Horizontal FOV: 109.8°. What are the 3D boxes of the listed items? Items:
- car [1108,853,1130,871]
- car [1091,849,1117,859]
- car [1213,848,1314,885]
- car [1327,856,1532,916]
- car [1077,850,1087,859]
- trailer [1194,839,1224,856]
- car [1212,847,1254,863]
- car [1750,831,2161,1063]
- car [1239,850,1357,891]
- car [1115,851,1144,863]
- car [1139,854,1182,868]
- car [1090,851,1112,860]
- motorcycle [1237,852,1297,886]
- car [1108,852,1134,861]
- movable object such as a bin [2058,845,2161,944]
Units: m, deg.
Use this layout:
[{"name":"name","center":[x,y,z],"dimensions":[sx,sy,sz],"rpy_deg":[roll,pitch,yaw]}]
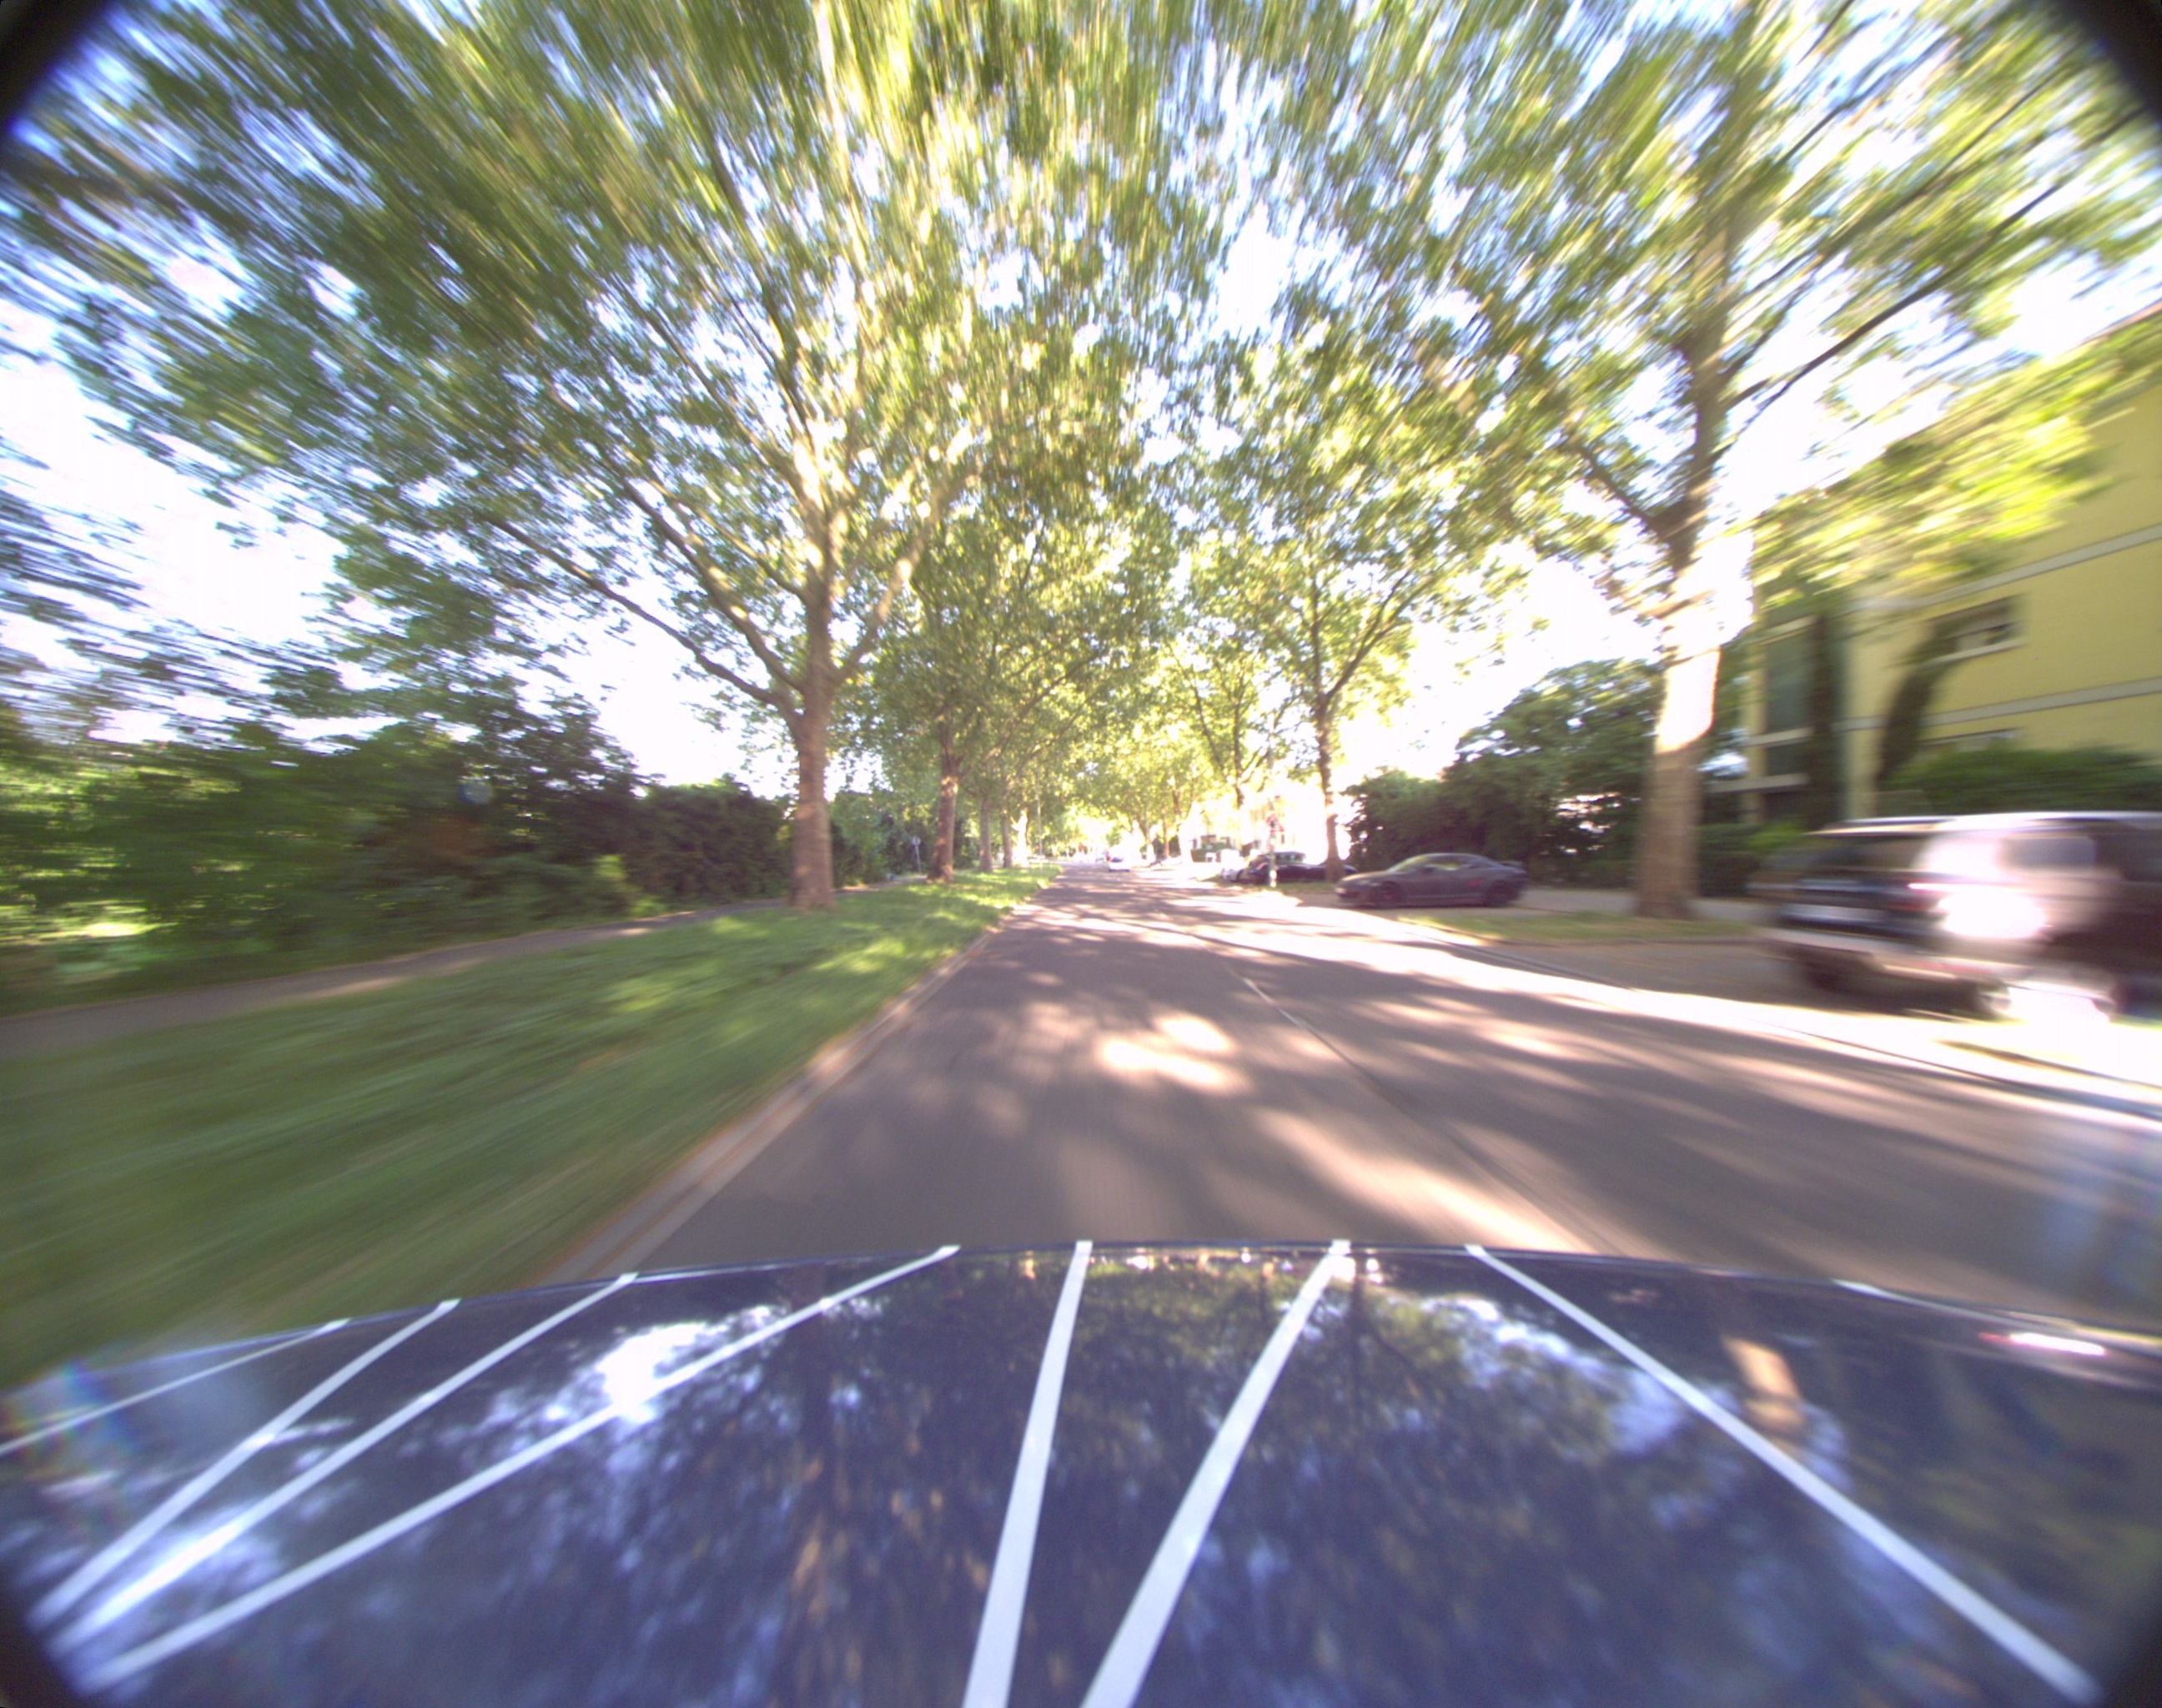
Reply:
[{"name":"car","center":[3.087,0.639,62.292],"dimensions":[1.539,1.450,3.184],"rpy_deg":[-1,0,-2]},{"name":"car","center":[4.011,-0.054,134.918],"dimensions":[4.398,1.813,1.995],"rpy_deg":[0,1,-4]},{"name":"car","center":[8.510,0.570,35.611],"dimensions":[4.195,1.575,1.999],"rpy_deg":[-1,1,-4]},{"name":"car","center":[8.453,0.748,18.655],"dimensions":[4.251,1.345,1.741],"rpy_deg":[0,1,-1]},{"name":"car","center":[0.120,0.059,139.263],"dimensions":[1.788,1.504,3.837],"rpy_deg":[-1,1,0]},{"name":"trailer","center":[17.116,-0.865,101.466],"dimensions":[3.463,1.914,1.643],"rpy_deg":[-5,-1,-4]},{"name":"car","center":[16.021,0.090,80.323],"dimensions":[3.997,1.455,1.901],"rpy_deg":[-2,-1,-1]},{"name":"car","center":[8.485,0.653,6.387],"dimensions":[4.254,1.670,1.670],"rpy_deg":[-1,1,0]},{"name":"car","center":[8.642,0.641,30.416],"dimensions":[4.172,1.497,1.801],"rpy_deg":[-1,0,-3]},{"name":"car","center":[7.035,0.432,111.189],"dimensions":[3.999,1.509,1.816],"rpy_deg":[-2,0,-4]},{"name":"car","center":[7.617,0.678,72.810],"dimensions":[3.836,1.308,1.789],"rpy_deg":[-1,1,-3]},{"name":"car","center":[3.966,0.283,150.062],"dimensions":[4.104,1.706,1.830],"rpy_deg":[-1,1,-6]},{"name":"motorcycle","center":[8.006,0.648,32.708],"dimensions":[2.392,1.380,0.648],"rpy_deg":[-2,0,-5]},{"name":"car","center":[6.540,0.412,124.199],"dimensions":[3.883,1.509,1.664],"rpy_deg":[-1,0,-7]},{"name":"movable object such as a bin","center":[15.186,0.548,10.863],"dimensions":[1.188,1.342,0.953],"rpy_deg":[0,1,1]}]
